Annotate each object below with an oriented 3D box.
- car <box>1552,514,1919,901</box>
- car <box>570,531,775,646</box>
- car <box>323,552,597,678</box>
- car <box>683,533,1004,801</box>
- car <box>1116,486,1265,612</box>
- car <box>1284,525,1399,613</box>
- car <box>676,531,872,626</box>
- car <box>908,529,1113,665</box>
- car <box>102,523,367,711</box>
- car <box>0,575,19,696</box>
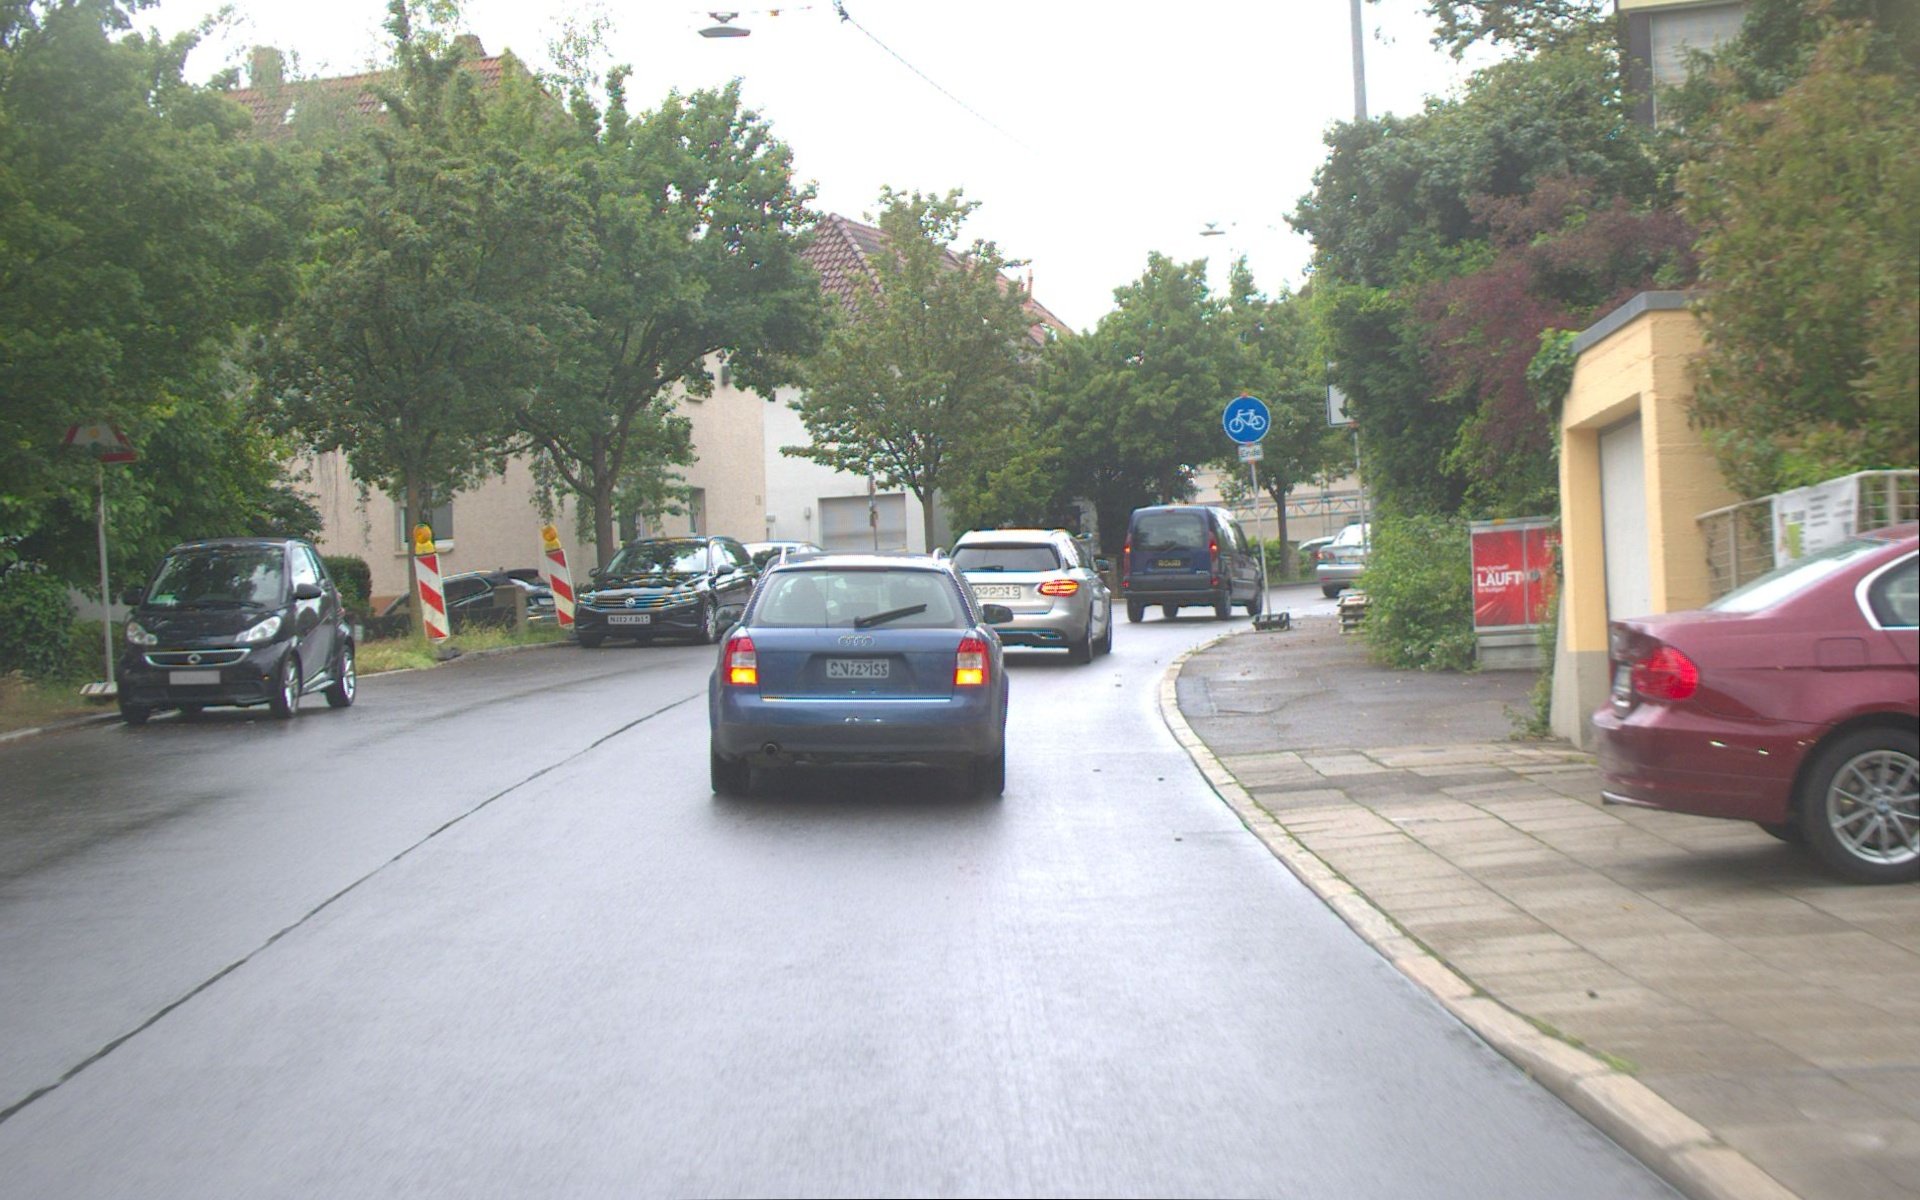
[{"bbox_3d":[4.692,0.323,14.179,4.170,1.401,1.834,-3,2,3],"label":"car"},{"bbox_3d":[-3.900,-0.186,47.405,1.733,1.479,4.528,-1,1,9],"label":"car"},{"bbox_3d":[-8.767,0.263,60.262,4.243,1.500,1.911,-10,-3,25],"label":"car"},{"bbox_3d":[-0.627,0.335,21.164,1.777,1.434,4.000,1,2,1],"label":"car"},{"bbox_3d":[3.750,-0.779,55.346,1.731,1.888,4.052,0,-1,13],"label":"car"},{"bbox_3d":[7.499,-0.604,67.411,1.721,1.654,3.712,1,1,14],"label":"car"},{"bbox_3d":[-2.814,-0.364,53.144,1.708,1.378,4.527,-1,1,15],"label":"car"},{"bbox_3d":[0.630,-0.073,38.607,1.909,1.383,4.350,-2,1,5],"label":"car"},{"bbox_3d":[-6.295,0.111,30.103,1.518,1.529,3.036,-1,1,3],"label":"car"},{"bbox_3d":[-13.060,0.693,39.313,3.919,1.390,1.778,-9,-1,7],"label":"car"}]
